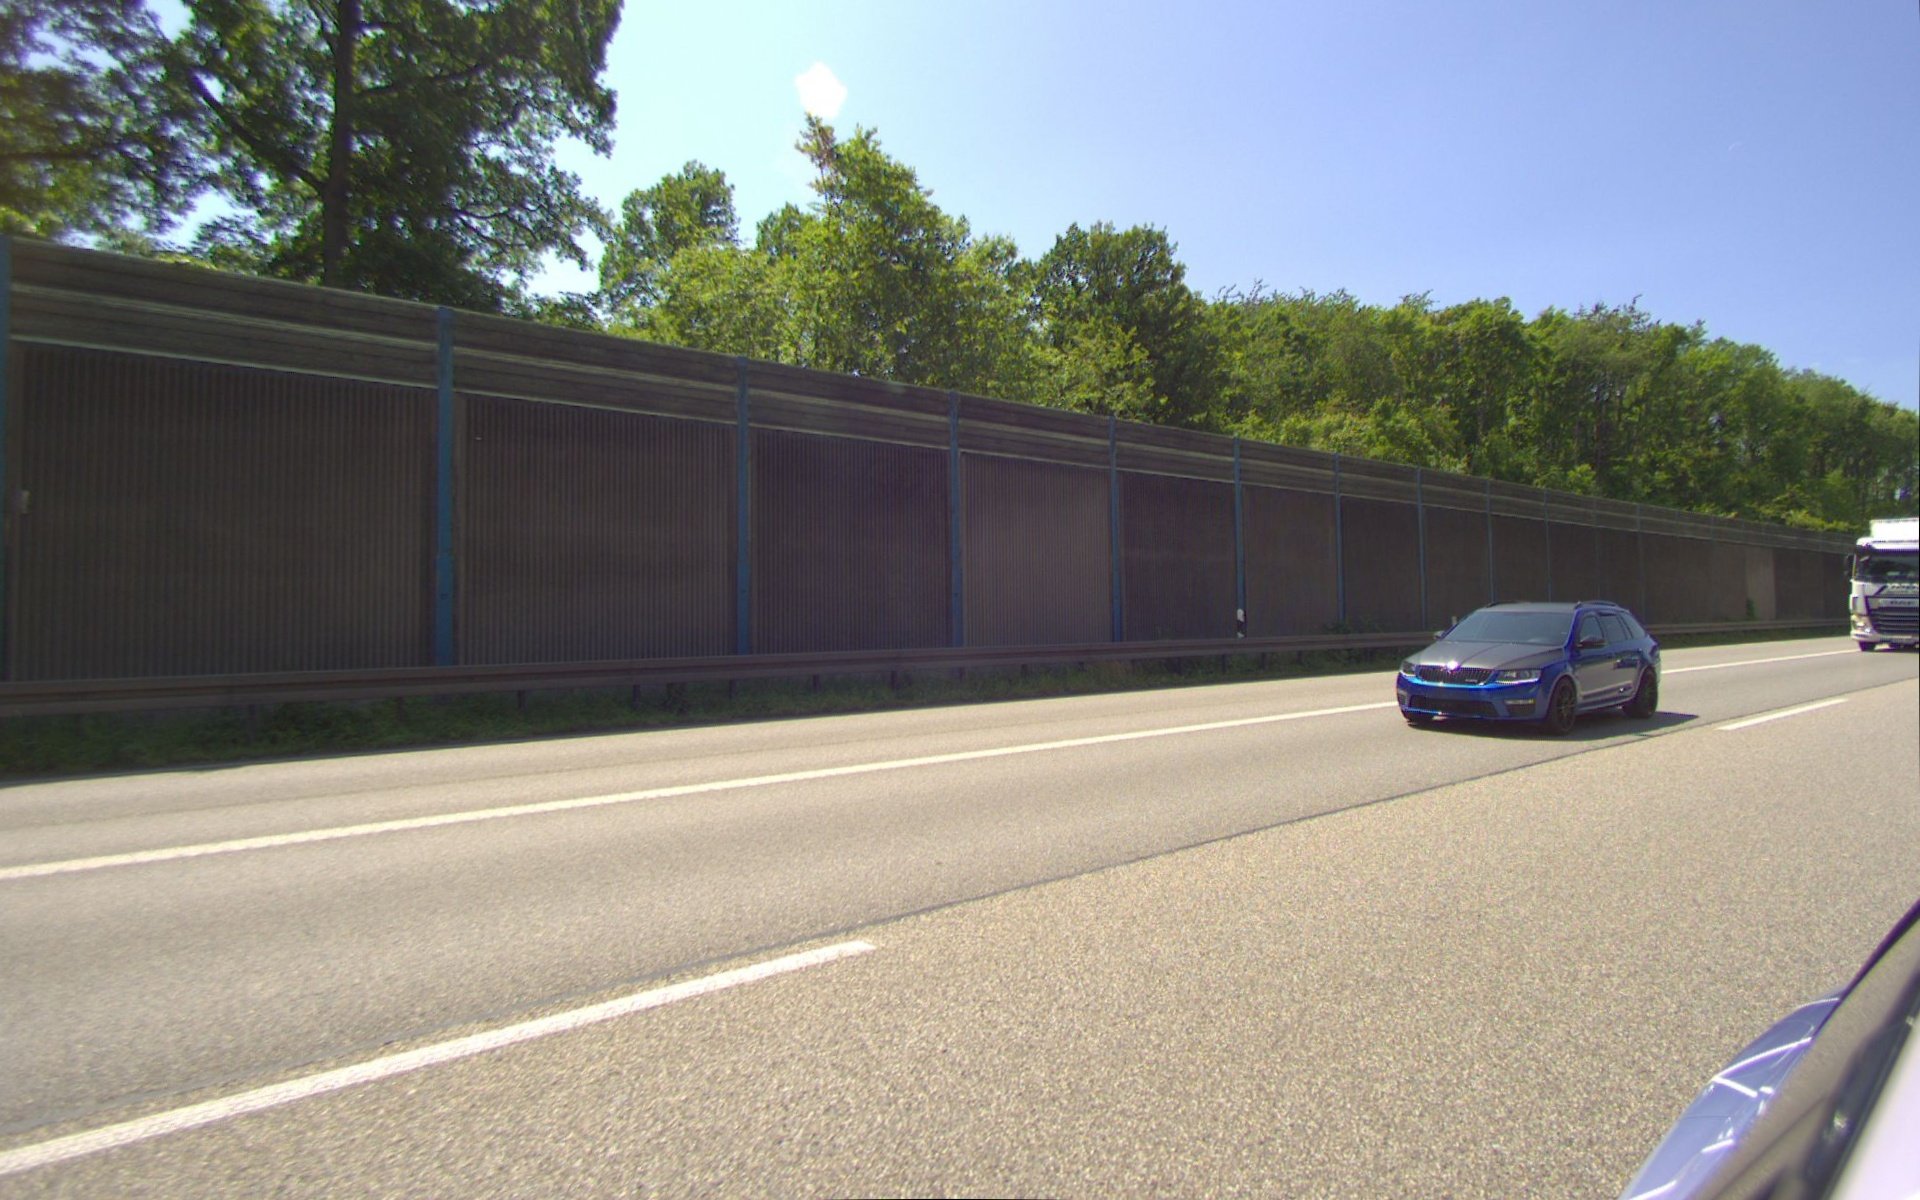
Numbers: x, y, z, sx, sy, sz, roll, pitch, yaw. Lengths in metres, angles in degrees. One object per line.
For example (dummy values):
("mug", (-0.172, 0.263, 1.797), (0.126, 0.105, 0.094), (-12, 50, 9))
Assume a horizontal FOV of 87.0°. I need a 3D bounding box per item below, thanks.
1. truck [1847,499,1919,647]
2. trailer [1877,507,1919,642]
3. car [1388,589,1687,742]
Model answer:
("truck", (29.969, -0.778, 31.097), (5.758, 4.259, 2.794), (0, -1, -35))
("trailer", (35.640, -0.792, 35.190), (12.992, 4.259, 2.794), (0, -1, -35))
("car", (7.234, 0.664, 12.499), (4.400, 1.501, 1.654), (-2, 1, -38))
